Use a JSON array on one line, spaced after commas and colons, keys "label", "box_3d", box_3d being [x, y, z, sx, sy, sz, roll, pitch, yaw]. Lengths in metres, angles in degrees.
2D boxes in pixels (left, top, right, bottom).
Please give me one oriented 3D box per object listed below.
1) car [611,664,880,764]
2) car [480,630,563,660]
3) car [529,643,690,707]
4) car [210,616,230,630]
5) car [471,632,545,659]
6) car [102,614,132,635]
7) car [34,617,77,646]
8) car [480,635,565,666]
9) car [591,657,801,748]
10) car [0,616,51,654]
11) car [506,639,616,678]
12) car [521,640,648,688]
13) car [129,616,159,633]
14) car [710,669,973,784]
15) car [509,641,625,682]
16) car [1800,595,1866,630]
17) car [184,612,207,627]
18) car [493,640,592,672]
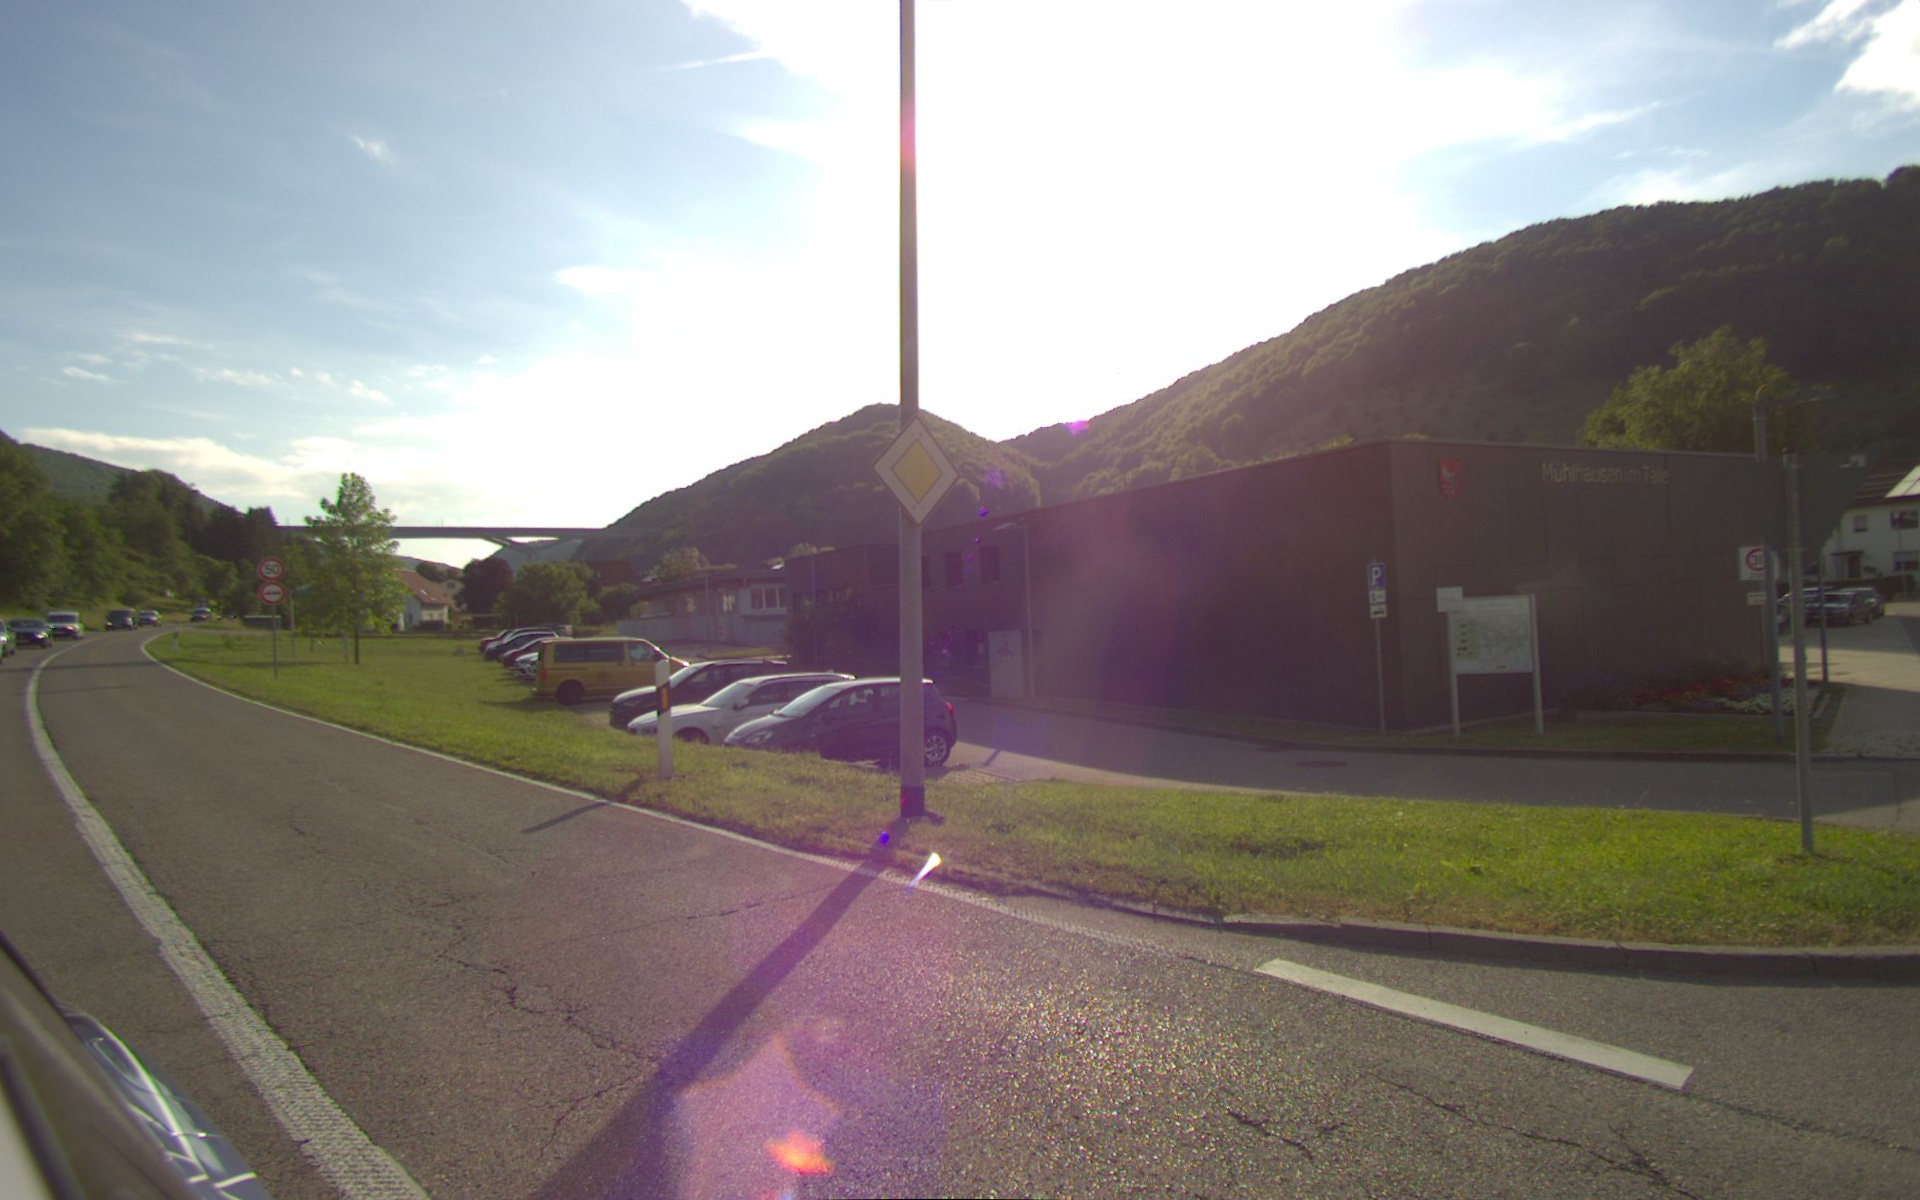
[{"label": "car", "box_3d": [-3.989, 2.050, 19.025, 4.575, 1.508, 1.918, 1, -2, -31]}, {"label": "car", "box_3d": [-27.357, 2.780, 63.113, 4.594, 1.776, 2.006, 0, -2, -28]}, {"label": "car", "box_3d": [-11.038, 2.294, 31.876, 4.582, 1.827, 2.006, 0, -2, -26]}, {"label": "car", "box_3d": [-105.240, 3.290, 143.966, 1.880, 1.918, 4.012, 0, 0, -31]}, {"label": "car", "box_3d": [-30.200, 3.025, 67.627, 4.370, 1.733, 2.006, 0, -2, -28]}, {"label": "car", "box_3d": [-74.398, 2.147, 89.315, 1.652, 1.659, 3.354, -2, -2, -34]}, {"label": "car", "box_3d": [-57.202, 1.977, 64.059, 1.771, 1.749, 4.291, 0, -1, -39]}, {"label": "car", "box_3d": [-25.369, 2.895, 58.714, 4.370, 1.595, 2.006, -1, -1, -28]}, {"label": "car", "box_3d": [-5.987, 2.256, 23.089, 4.224, 1.650, 1.918, -2, -1, -32]}, {"label": "car", "box_3d": [-45.180, 1.696, 48.829, 1.884, 1.698, 4.005, 0, -2, -41]}, {"label": "car", "box_3d": [-17.914, 2.595, 45.469, 4.370, 1.595, 2.006, 0, -2, -28]}, {"label": "car", "box_3d": [-14.619, 2.440, 39.421, 4.476, 1.714, 2.006, 0, -2, -26]}, {"label": "car", "box_3d": [-84.519, 2.545, 104.823, 1.966, 1.730, 4.011, 0, -1, -33]}, {"label": "car", "box_3d": [-1.962, 1.992, 16.782, 3.931, 1.546, 1.839, 0, -2, -28]}, {"label": "car", "box_3d": [-16.468, 2.540, 42.409, 4.370, 1.599, 2.006, 0, -2, -26]}, {"label": "car", "box_3d": [39.871, 0.560, 46.312, 1.997, 1.525, 3.949, -2, -2, 37]}, {"label": "car", "box_3d": [-99.654, 2.485, 131.953, 1.880, 1.918, 4.012, 0, 0, -30]}, {"label": "car", "box_3d": [-20.541, 2.720, 49.784, 4.370, 1.463, 2.006, 0, -2, -26]}]
